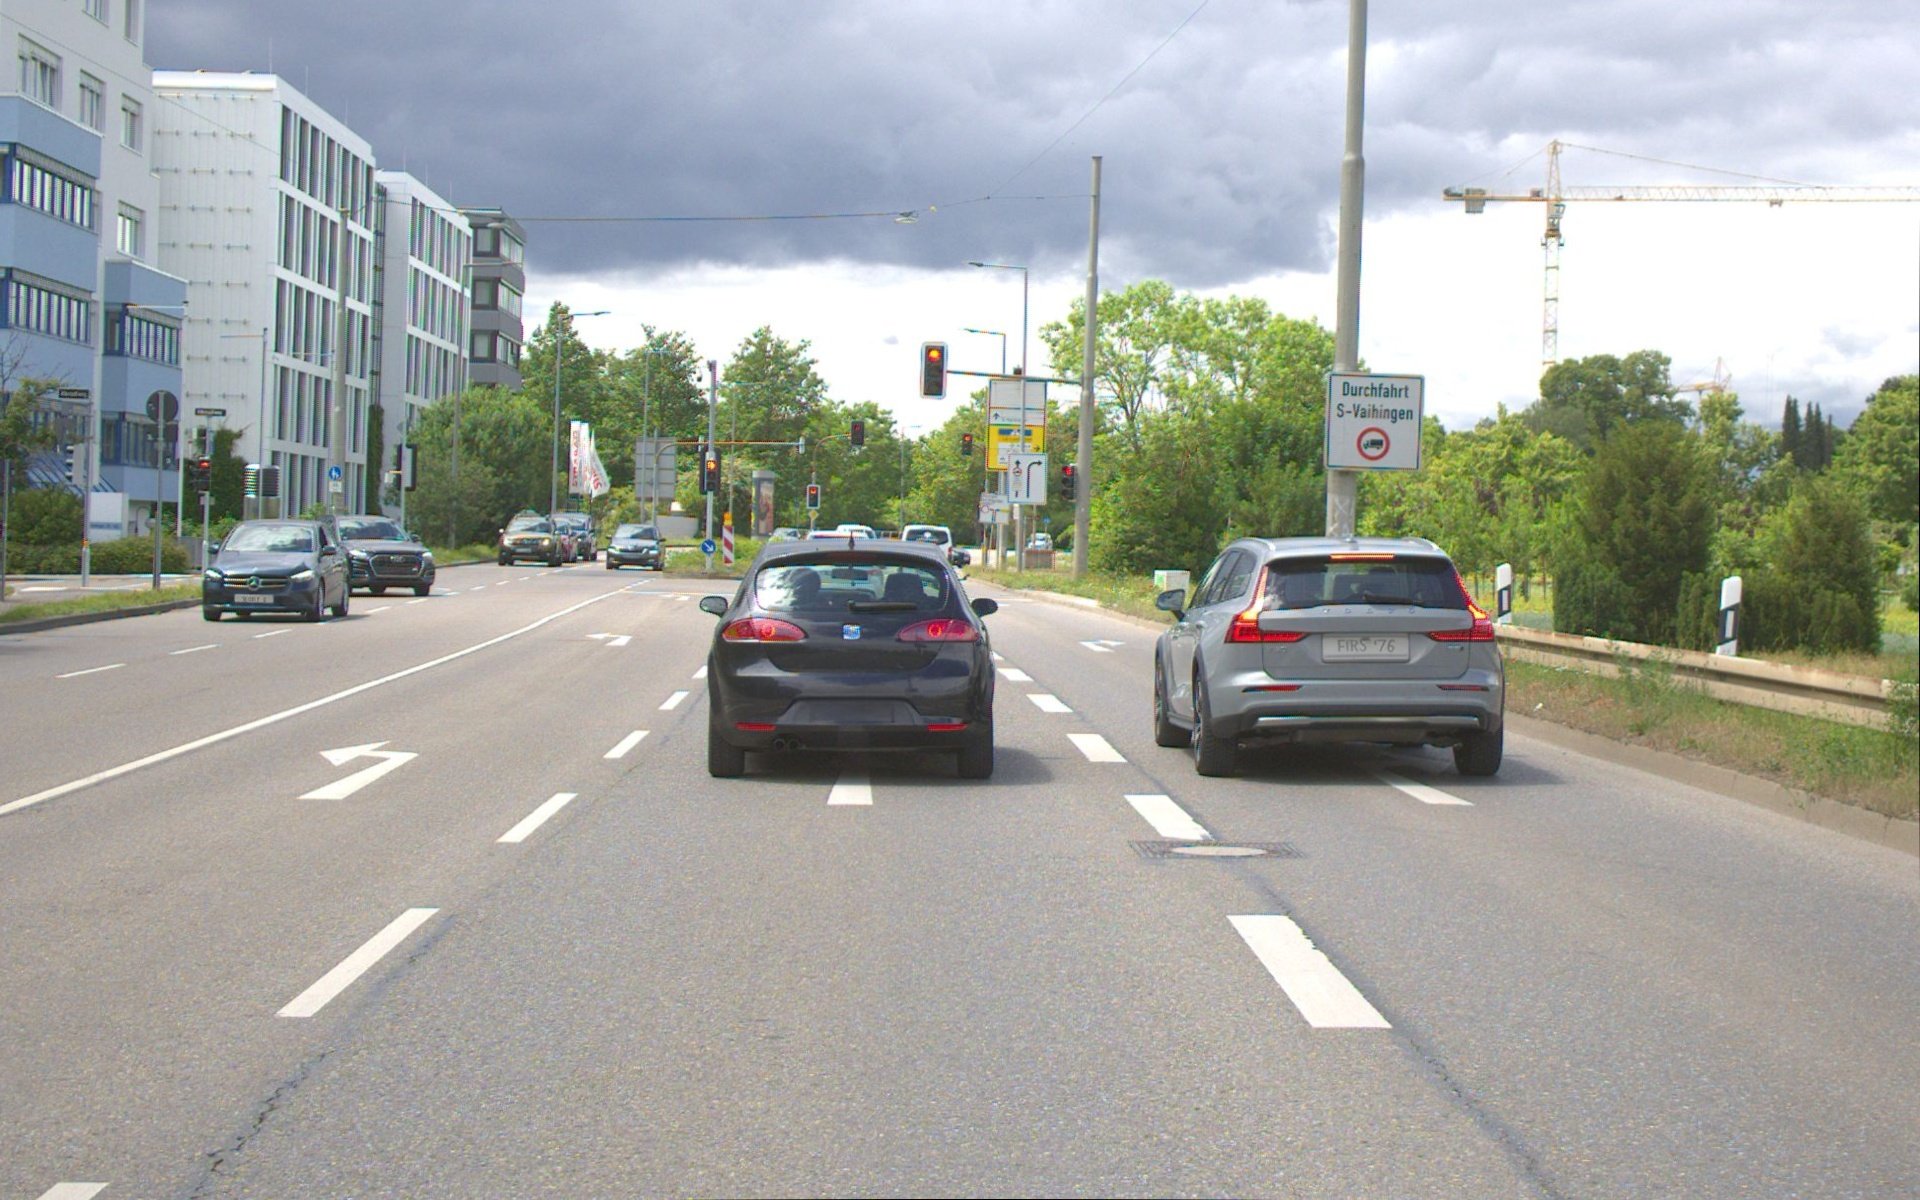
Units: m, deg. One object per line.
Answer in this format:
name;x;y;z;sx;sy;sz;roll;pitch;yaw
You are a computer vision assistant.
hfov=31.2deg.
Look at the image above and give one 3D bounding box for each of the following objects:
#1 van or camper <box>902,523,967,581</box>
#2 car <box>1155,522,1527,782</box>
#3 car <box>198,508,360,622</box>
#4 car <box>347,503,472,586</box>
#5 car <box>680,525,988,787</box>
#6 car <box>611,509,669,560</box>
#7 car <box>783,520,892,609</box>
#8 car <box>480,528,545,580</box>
van or camper;-0.914;-1.710;121.946;1.899;1.919;4.001;3;1;-5
car;2.356;0.281;22.315;1.958;1.520;4.340;0;1;1
car;-10.642;-0.557;53.984;1.796;1.579;4.314;4;0;-3
car;-11.226;-1.129;70.392;1.867;1.609;4.572;1;1;-1
car;-0.714;0.303;21.912;1.748;1.478;4.000;1;1;0
car;-10.135;-2.085;109.179;1.668;1.519;4.009;0;2;-3
car;-2.460;-0.735;68.051;1.983;1.584;4.227;2;2;-4
car;-14.343;-1.488;110.264;1.751;1.625;4.001;0;1;-3
